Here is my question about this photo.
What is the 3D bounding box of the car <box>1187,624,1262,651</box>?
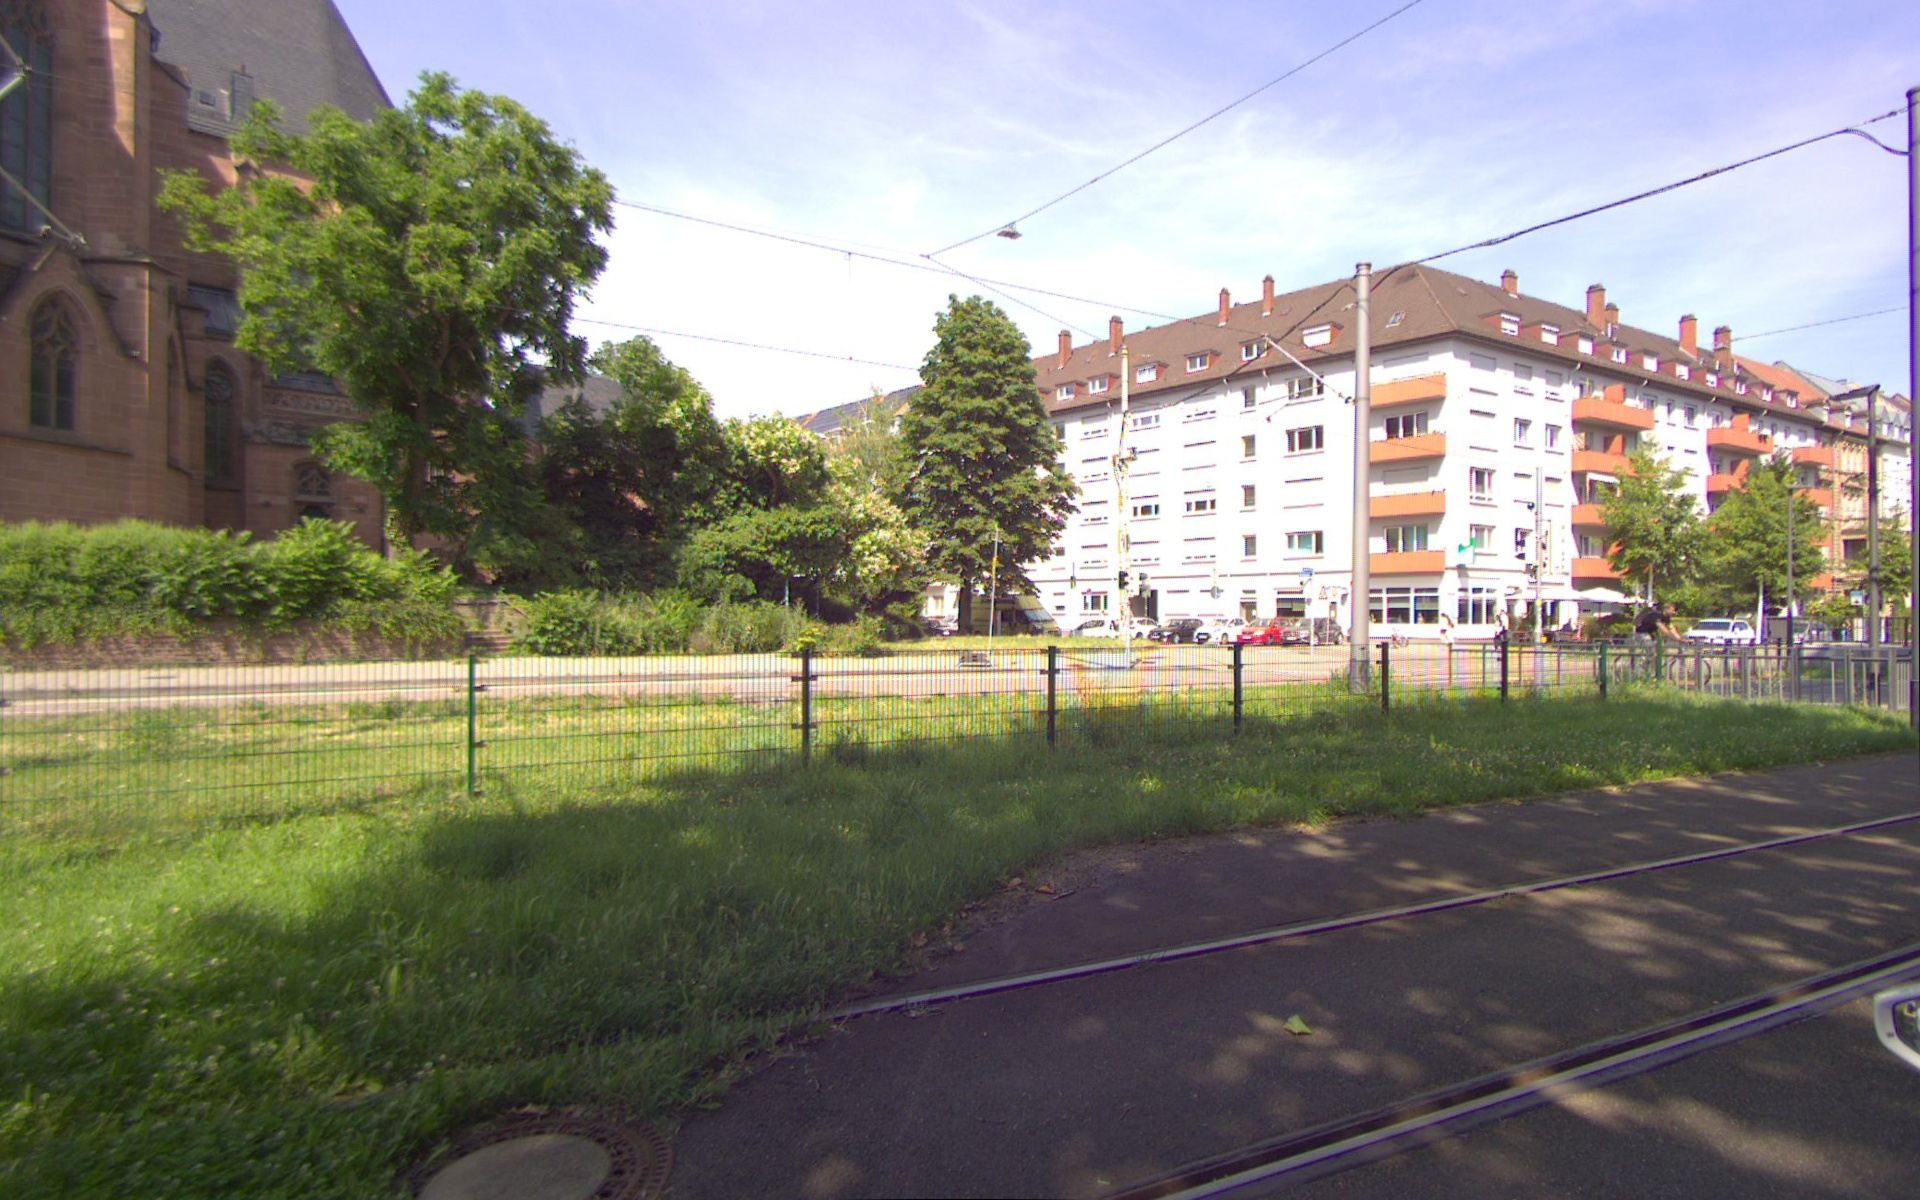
[{"bbox_3d":[14.501,2.005,55.011,4.130,1.425,1.917,1,-1,-38],"label":"car"}]

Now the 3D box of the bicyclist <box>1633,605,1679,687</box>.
[{"bbox_3d":[14.246,0.923,20.559,0.685,1.644,0.621,0,-1,43],"label":"bicyclist"}]

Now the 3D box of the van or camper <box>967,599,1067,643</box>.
[{"bbox_3d":[3.143,1.159,56.246,2.229,2.360,5.704,1,-1,-43],"label":"van or camper"}]

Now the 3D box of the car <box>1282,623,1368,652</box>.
[{"bbox_3d":[18.246,1.841,50.130,4.599,1.394,1.821,1,-1,-36],"label":"car"}]

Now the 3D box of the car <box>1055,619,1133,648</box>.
[{"bbox_3d":[6.916,1.700,51.974,3.701,1.425,1.823,-1,-2,44],"label":"car"}]

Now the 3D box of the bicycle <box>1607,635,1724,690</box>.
[{"bbox_3d":[14.341,1.249,20.464,1.899,1.063,0.529,-1,-1,44],"label":"bicycle"}]

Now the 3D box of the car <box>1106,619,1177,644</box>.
[{"bbox_3d":[10.663,1.821,58.861,4.130,1.425,1.917,1,-1,-38],"label":"car"}]

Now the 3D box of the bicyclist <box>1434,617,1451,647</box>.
[{"bbox_3d":[23.250,1.518,48.413,0.616,1.442,0.587,0,-1,43],"label":"bicyclist"}]

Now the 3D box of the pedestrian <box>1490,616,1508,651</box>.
[{"bbox_3d":[24.937,1.553,46.458,0.679,1.593,0.544,0,-1,36],"label":"pedestrian"}]

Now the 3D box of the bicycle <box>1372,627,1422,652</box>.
[{"bbox_3d":[21.022,1.888,48.285,2.779,1.152,0.905,1,-1,-34],"label":"bicycle"}]

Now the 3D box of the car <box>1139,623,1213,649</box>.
[{"bbox_3d":[12.200,2.004,56.558,4.130,1.425,1.917,1,-1,-38],"label":"car"}]

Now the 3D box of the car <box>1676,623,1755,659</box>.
[{"bbox_3d":[34.177,1.842,45.426,3.962,1.518,1.758,1,-3,-36],"label":"car"}]

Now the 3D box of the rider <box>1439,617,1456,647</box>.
[{"bbox_3d":[23.717,1.565,48.871,0.616,1.442,0.587,0,-1,43],"label":"rider"}]

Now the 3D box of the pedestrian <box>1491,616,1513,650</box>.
[{"bbox_3d":[25.337,1.525,46.956,0.846,1.593,0.688,0,-1,36],"label":"pedestrian"}]

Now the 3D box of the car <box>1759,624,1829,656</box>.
[{"bbox_3d":[41.413,1.954,49.851,3.962,1.518,1.758,1,-3,-36],"label":"car"}]

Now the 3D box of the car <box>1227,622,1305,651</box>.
[{"bbox_3d":[16.060,1.884,52.707,4.130,1.425,1.917,1,-1,-38],"label":"car"}]
